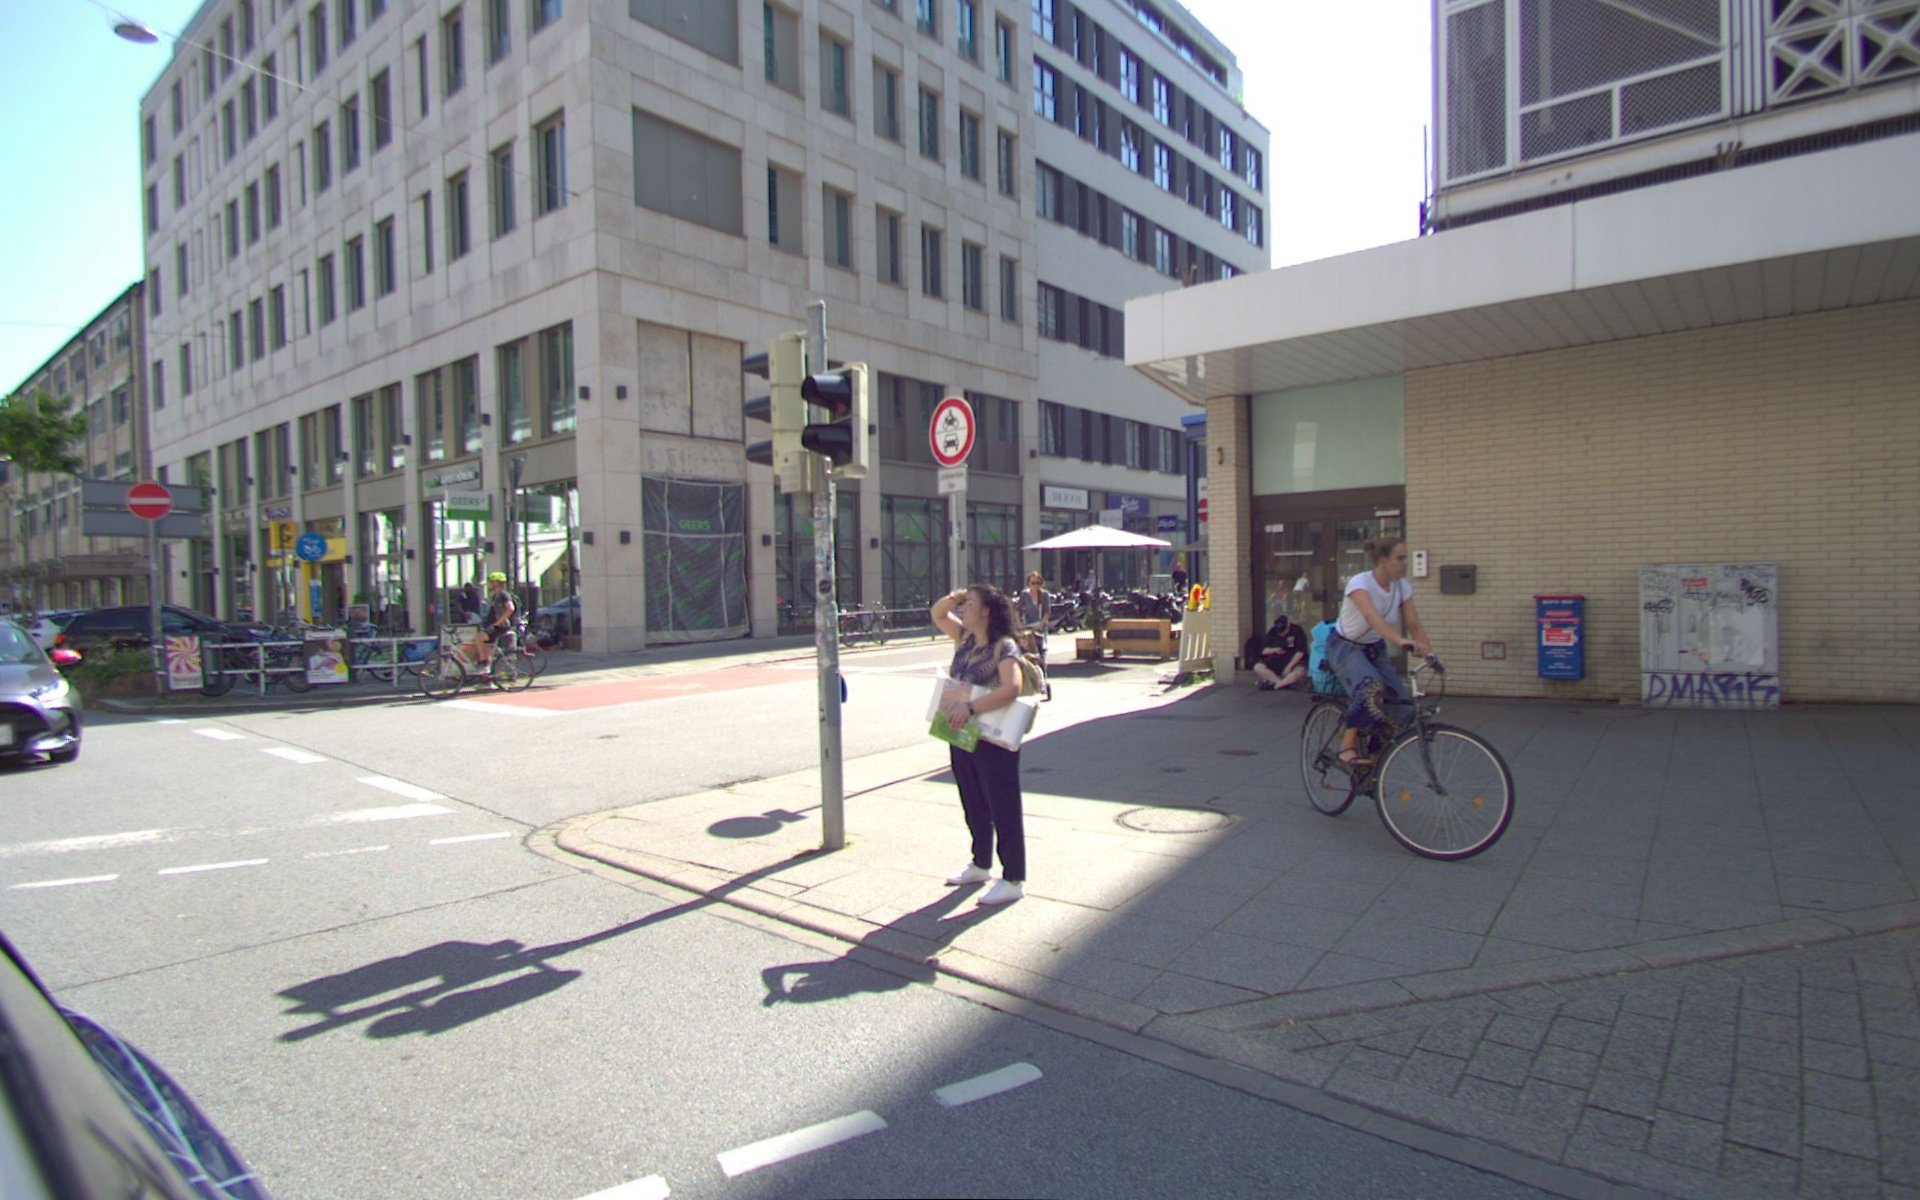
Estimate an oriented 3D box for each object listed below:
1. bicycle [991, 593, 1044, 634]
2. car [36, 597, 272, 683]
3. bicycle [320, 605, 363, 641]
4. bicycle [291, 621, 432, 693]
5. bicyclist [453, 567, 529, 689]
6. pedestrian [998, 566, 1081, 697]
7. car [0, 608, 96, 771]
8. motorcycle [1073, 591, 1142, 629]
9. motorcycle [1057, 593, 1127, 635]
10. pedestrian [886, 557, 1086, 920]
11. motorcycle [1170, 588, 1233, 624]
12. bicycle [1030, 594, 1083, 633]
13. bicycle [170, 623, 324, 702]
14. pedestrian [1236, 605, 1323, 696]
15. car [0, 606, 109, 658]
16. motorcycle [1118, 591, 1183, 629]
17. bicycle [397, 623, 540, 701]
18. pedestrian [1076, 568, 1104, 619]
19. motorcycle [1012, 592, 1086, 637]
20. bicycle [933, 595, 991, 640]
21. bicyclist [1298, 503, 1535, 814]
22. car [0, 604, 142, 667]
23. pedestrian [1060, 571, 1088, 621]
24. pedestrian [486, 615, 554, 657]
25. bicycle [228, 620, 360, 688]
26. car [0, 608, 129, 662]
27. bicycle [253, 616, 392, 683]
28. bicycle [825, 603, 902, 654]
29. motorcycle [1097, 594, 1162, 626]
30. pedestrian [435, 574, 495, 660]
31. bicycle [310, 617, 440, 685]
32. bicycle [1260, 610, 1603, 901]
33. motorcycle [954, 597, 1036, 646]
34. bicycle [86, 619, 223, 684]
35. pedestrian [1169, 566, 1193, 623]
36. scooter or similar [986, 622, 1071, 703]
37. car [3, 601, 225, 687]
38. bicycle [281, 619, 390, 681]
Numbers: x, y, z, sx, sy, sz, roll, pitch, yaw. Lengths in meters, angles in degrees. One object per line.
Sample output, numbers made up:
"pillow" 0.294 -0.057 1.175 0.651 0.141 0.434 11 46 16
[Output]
"bicycle" 1.729 0.397 30.130 0.454 1.135 2.037 -2 0 40
"car" -18.827 0.872 23.913 3.965 1.614 1.965 -4 3 -27
"bicycle" -20.032 0.750 32.752 2.159 1.115 0.490 -1 2 40
"bicycle" -10.477 0.981 17.773 2.030 1.178 0.607 -1 0 -13
"bicyclist" -7.858 0.447 16.946 0.832 1.974 1.018 -2 0 -44
"pedestrian" 1.087 0.421 13.744 0.835 1.670 0.839 -2 4 21
"car" -10.483 0.896 10.465 4.105 1.489 1.844 -3 -2 42
"motorcycle" 4.659 0.318 32.023 2.035 1.074 0.605 -3 1 -1
"motorcycle" 3.999 0.425 30.836 2.038 1.182 0.604 -3 1 5
"pedestrian" 0.138 0.601 4.827 0.678 1.571 0.635 -2 1 29
"motorcycle" 8.637 0.195 36.231 2.033 1.205 0.708 -2 1 -4
"bicycle" 3.055 0.417 31.891 0.570 1.117 2.037 -2 1 40
"bicycle" -11.844 1.028 16.858 2.033 1.182 0.606 -2 2 -5
"pedestrian" 4.147 0.635 13.138 0.840 1.065 0.714 -1 4 38
"car" -34.193 1.192 37.321 1.818 1.539 3.949 1 5 39
"motorcycle" 6.471 0.339 34.476 2.035 1.182 0.707 -3 1 -1
"bicycle" -8.112 0.998 16.773 1.963 1.135 0.800 -2 0 -43
"pedestrian" 4.628 -0.232 36.033 0.667 1.771 0.757 -1 0 40
"motorcycle" 2.551 0.423 29.163 2.038 1.182 0.653 -3 -1 5
"bicycle" 0.074 0.462 28.100 0.454 1.135 2.038 4 3 38
"bicyclist" 2.506 0.291 5.690 0.725 1.550 1.078 -2 0 -4
"car" -29.458 1.173 32.855 3.970 1.604 1.825 -6 4 -17
"pedestrian" 4.102 -0.139 36.461 0.667 1.771 0.757 -1 0 40
"pedestrian" -10.606 0.852 24.407 0.840 0.932 1.237 -1 0 38
"bicycle" -12.909 1.031 19.696 2.029 1.135 0.564 -4 1 -25
"car" -32.039 1.254 35.230 4.426 1.442 1.869 -7 5 -30
"bicycle" -12.900 0.979 20.559 2.289 1.135 0.564 -4 2 -25
"bicycle" -2.371 0.670 25.029 0.639 1.135 2.037 3 3 40
"motorcycle" 5.626 0.325 33.604 2.039 0.946 0.706 -3 1 7
"pedestrian" -11.526 0.381 23.573 0.844 1.892 0.830 -1 4 40
"bicycle" -10.937 0.936 19.007 2.029 1.135 0.649 -2 0 -24
"bicycle" 2.513 0.727 5.781 0.725 1.277 2.214 -2 0 -5
"motorcycle" 0.925 0.572 26.595 2.044 1.182 0.654 -3 -2 14
"bicycle" -16.743 1.050 21.090 0.484 1.135 2.118 -3 1 41
"pedestrian" 9.128 -0.210 41.715 0.667 2.309 0.757 -1 0 40
"scooter or similar" 0.920 0.811 13.431 0.895 0.972 0.967 -1 1 19
"car" -21.570 1.030 25.937 4.109 1.648 2.105 -7 4 -42
"bicycle" -13.010 1.030 21.134 1.835 1.135 0.486 -4 1 -25
